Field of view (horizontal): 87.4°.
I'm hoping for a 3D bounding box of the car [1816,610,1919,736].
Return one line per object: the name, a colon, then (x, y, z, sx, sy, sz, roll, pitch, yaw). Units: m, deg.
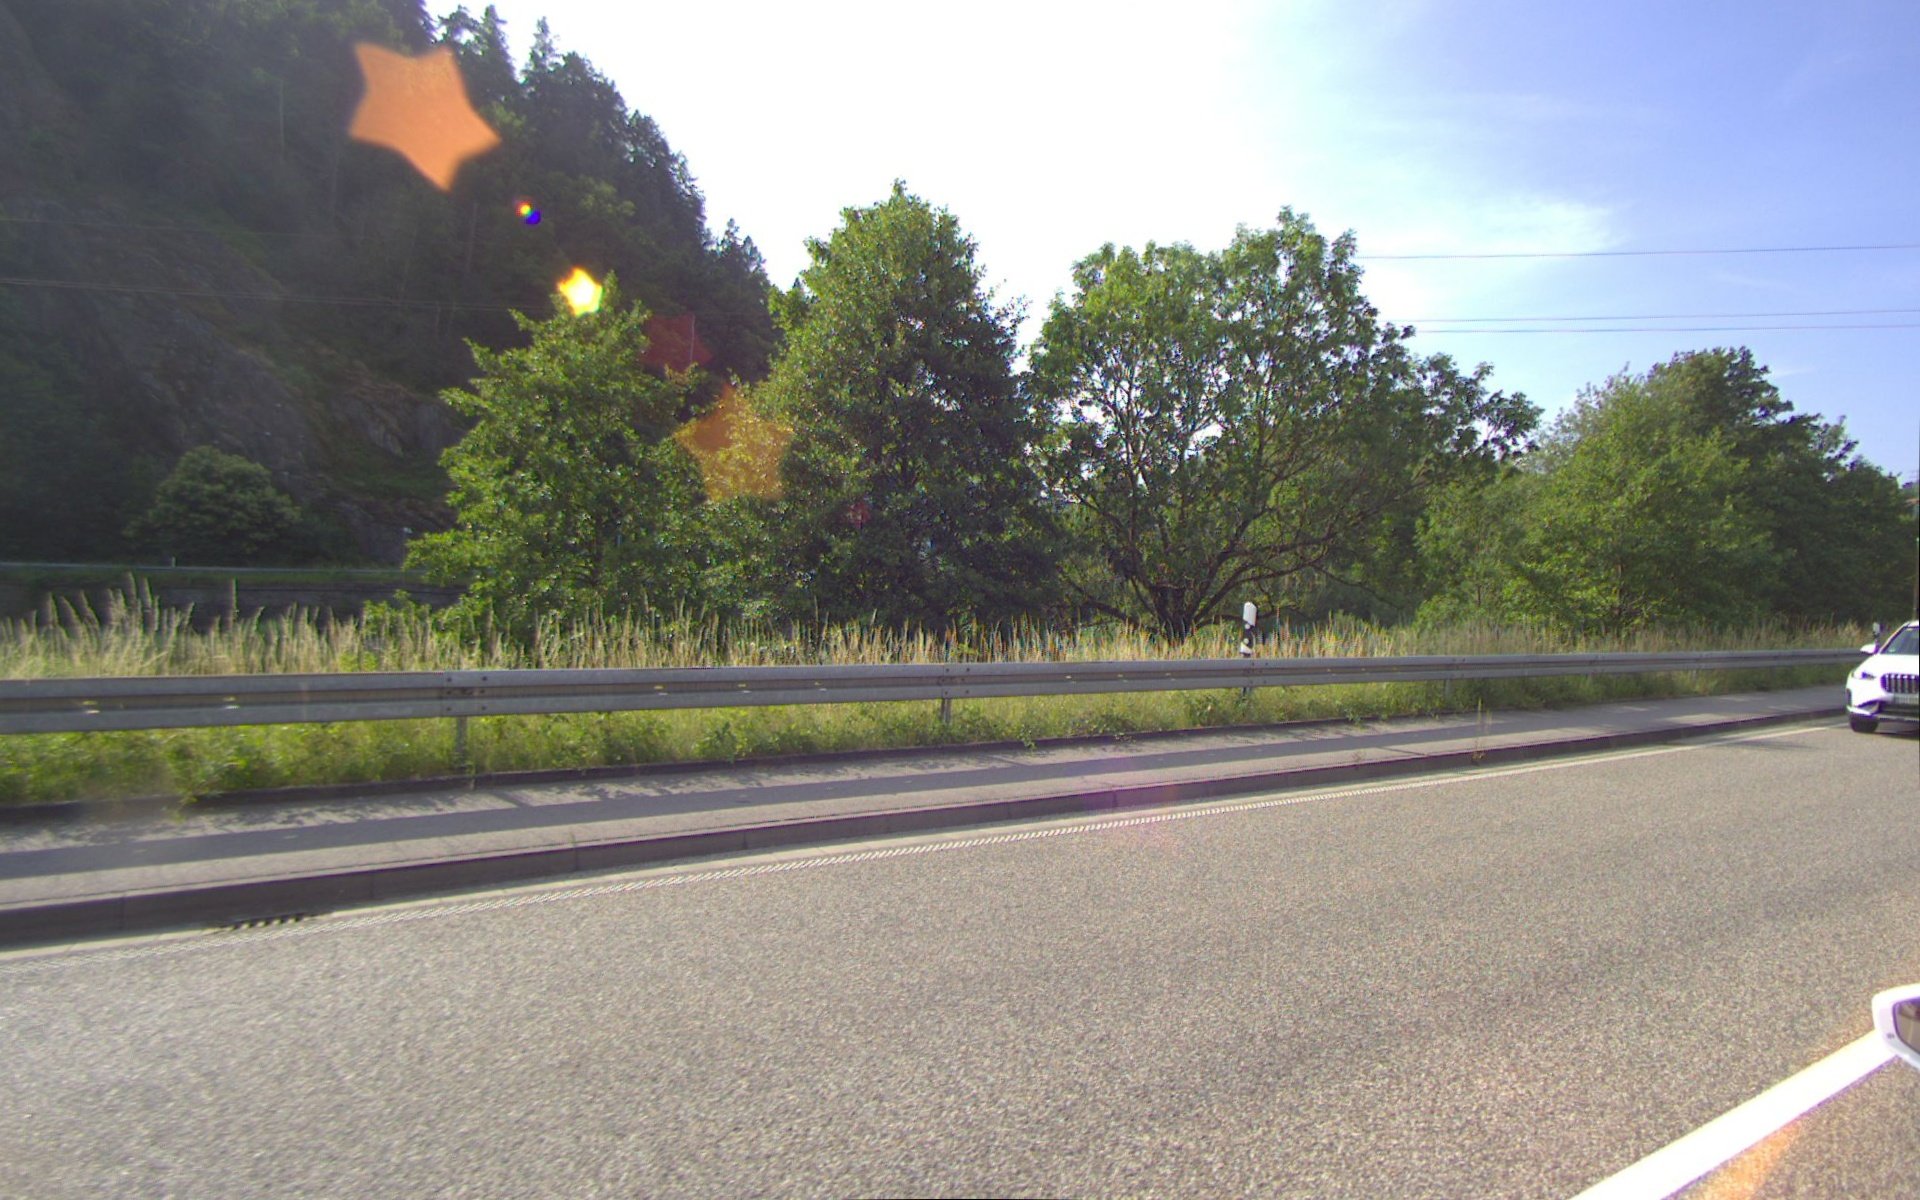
car: (14.198, 1.002, 14.404, 3.959, 1.651, 1.981, 1, 0, -35)
